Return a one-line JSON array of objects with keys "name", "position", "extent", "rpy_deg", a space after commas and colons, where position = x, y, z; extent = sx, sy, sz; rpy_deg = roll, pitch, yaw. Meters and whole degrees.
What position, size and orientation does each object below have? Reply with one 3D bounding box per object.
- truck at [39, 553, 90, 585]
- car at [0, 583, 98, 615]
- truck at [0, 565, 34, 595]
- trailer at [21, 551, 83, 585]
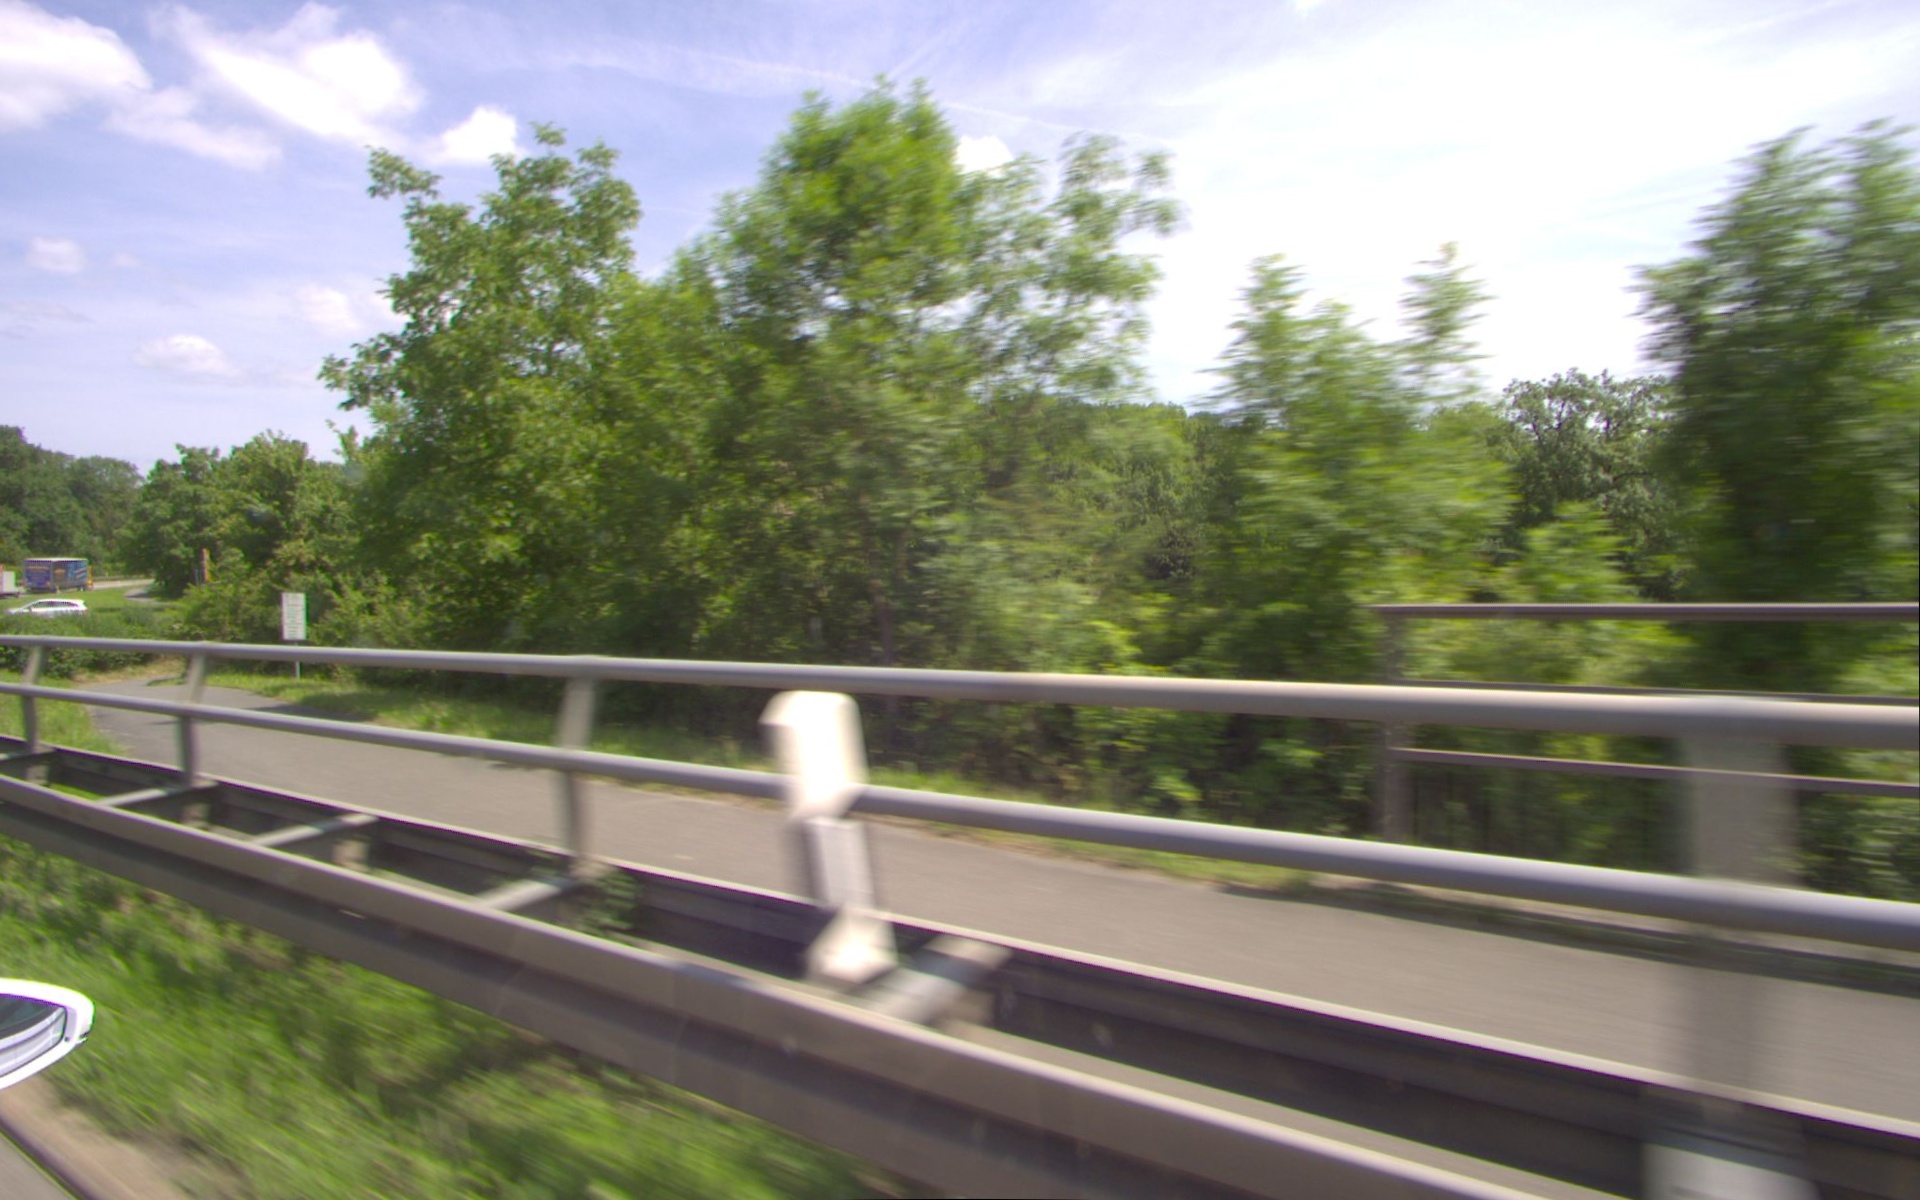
[{"name": "truck", "position": [-110.251, -3.744, 123.379], "extent": [3.214, 3.734, 6.214], "rpy_deg": [1, 0, -28]}, {"name": "car", "position": [-54.935, -0.022, 60.331], "extent": [1.980, 1.740, 4.402], "rpy_deg": [-2, -2, 45]}, {"name": "truck", "position": [-100.263, -2.098, 105.037], "extent": [2.822, 2.987, 7.070], "rpy_deg": [1, 0, -28]}, {"name": "trailer", "position": [-108.239, -3.706, 119.523], "extent": [3.213, 3.734, 9.206], "rpy_deg": [1, 0, -28]}]
